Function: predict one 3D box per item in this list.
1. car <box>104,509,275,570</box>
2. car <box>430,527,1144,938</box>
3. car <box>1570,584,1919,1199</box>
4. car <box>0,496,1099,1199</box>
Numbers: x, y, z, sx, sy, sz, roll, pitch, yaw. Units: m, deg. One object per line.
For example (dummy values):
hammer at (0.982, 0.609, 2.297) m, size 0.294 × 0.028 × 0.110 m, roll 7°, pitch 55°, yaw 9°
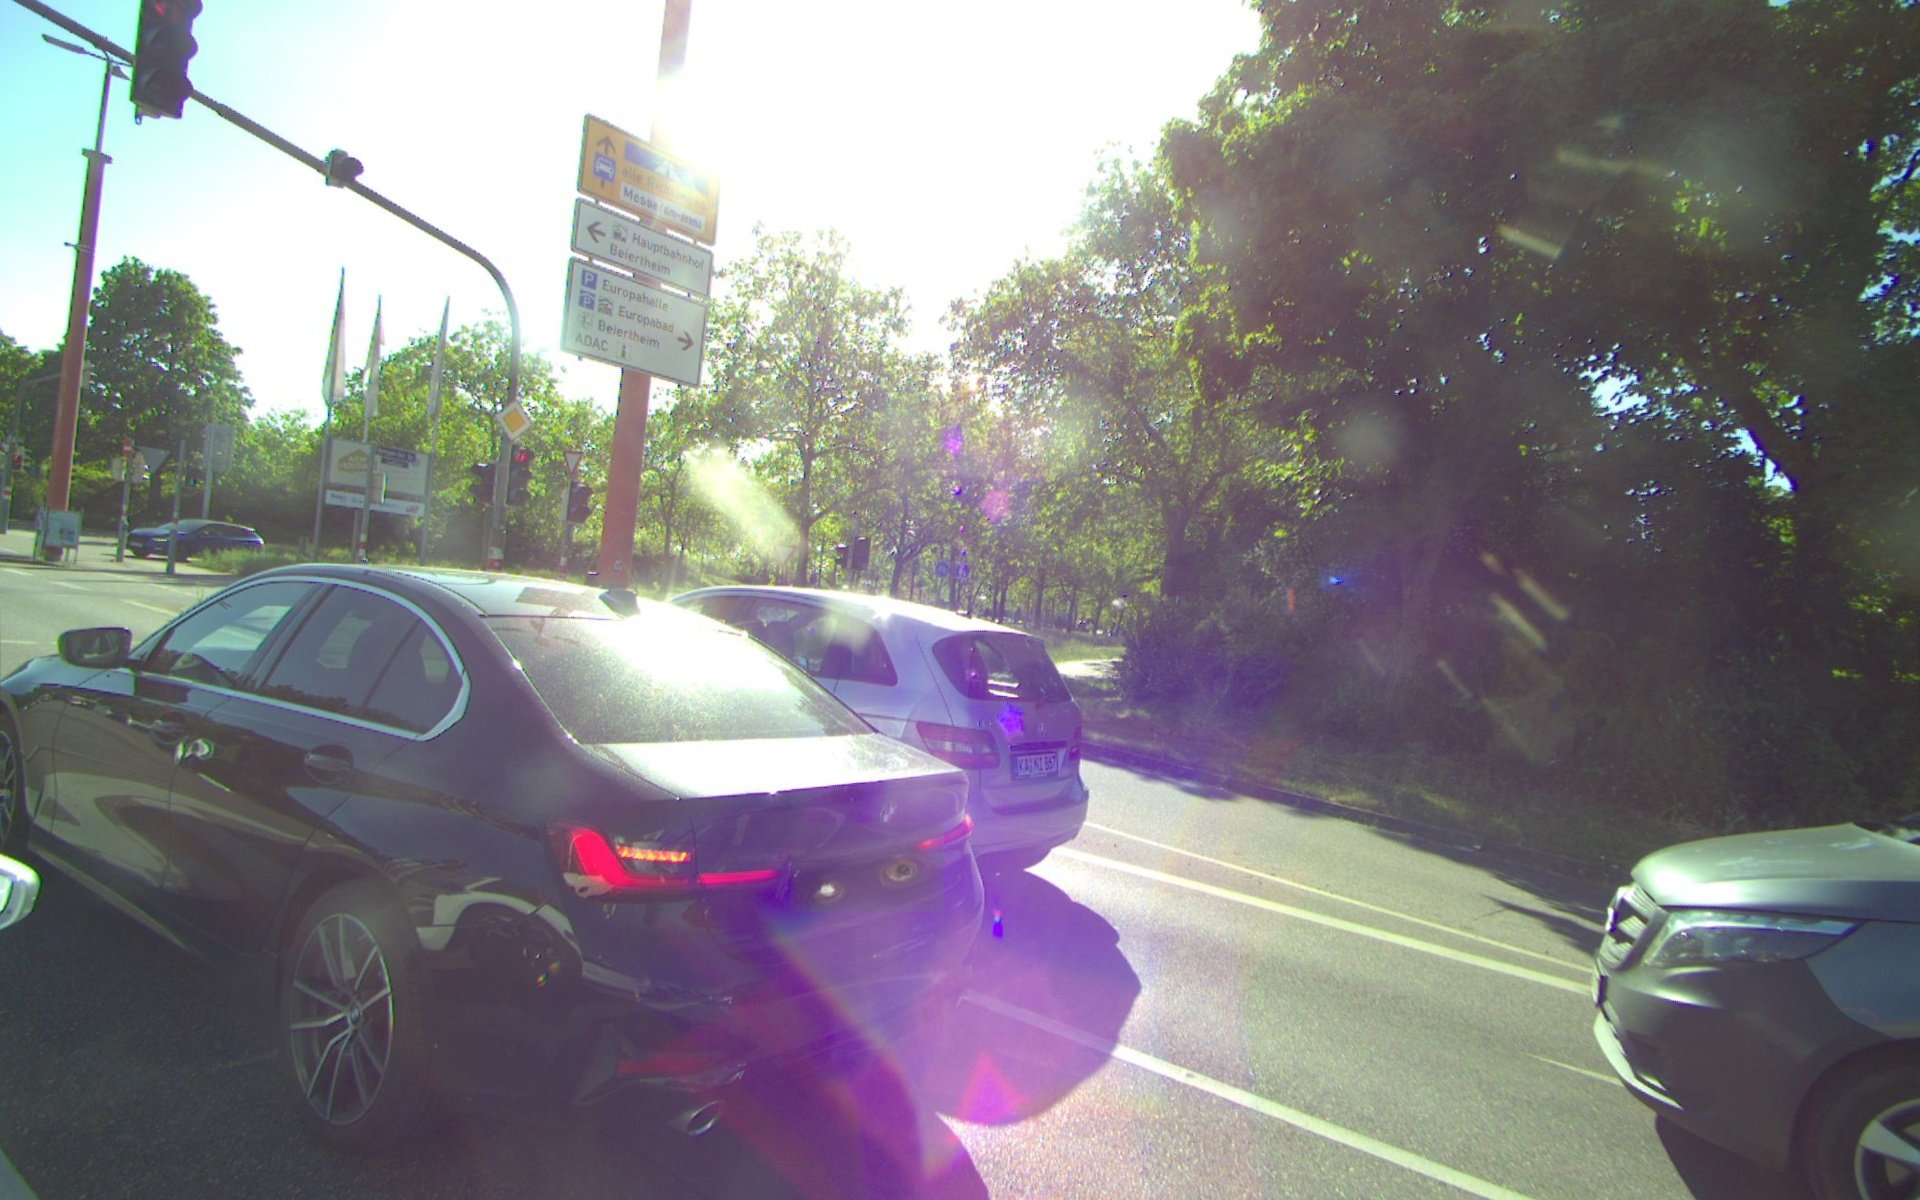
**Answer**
car at (-26.018, -1.993, 34.177) m, size 1.848 × 1.445 × 4.283 m, roll 7°, pitch -1°, yaw 14°
car at (-1.278, 0.639, 6.790) m, size 4.403 × 1.706 × 1.970 m, roll 7°, pitch -1°, yaw 32°
car at (4.724, 1.222, 2.731) m, size 5.063 × 1.916 × 1.996 m, roll 7°, pitch 0°, yaw 32°
car at (-1.956, 0.528, 3.882) m, size 4.403 × 1.411 × 1.996 m, roll 7°, pitch 0°, yaw 32°
